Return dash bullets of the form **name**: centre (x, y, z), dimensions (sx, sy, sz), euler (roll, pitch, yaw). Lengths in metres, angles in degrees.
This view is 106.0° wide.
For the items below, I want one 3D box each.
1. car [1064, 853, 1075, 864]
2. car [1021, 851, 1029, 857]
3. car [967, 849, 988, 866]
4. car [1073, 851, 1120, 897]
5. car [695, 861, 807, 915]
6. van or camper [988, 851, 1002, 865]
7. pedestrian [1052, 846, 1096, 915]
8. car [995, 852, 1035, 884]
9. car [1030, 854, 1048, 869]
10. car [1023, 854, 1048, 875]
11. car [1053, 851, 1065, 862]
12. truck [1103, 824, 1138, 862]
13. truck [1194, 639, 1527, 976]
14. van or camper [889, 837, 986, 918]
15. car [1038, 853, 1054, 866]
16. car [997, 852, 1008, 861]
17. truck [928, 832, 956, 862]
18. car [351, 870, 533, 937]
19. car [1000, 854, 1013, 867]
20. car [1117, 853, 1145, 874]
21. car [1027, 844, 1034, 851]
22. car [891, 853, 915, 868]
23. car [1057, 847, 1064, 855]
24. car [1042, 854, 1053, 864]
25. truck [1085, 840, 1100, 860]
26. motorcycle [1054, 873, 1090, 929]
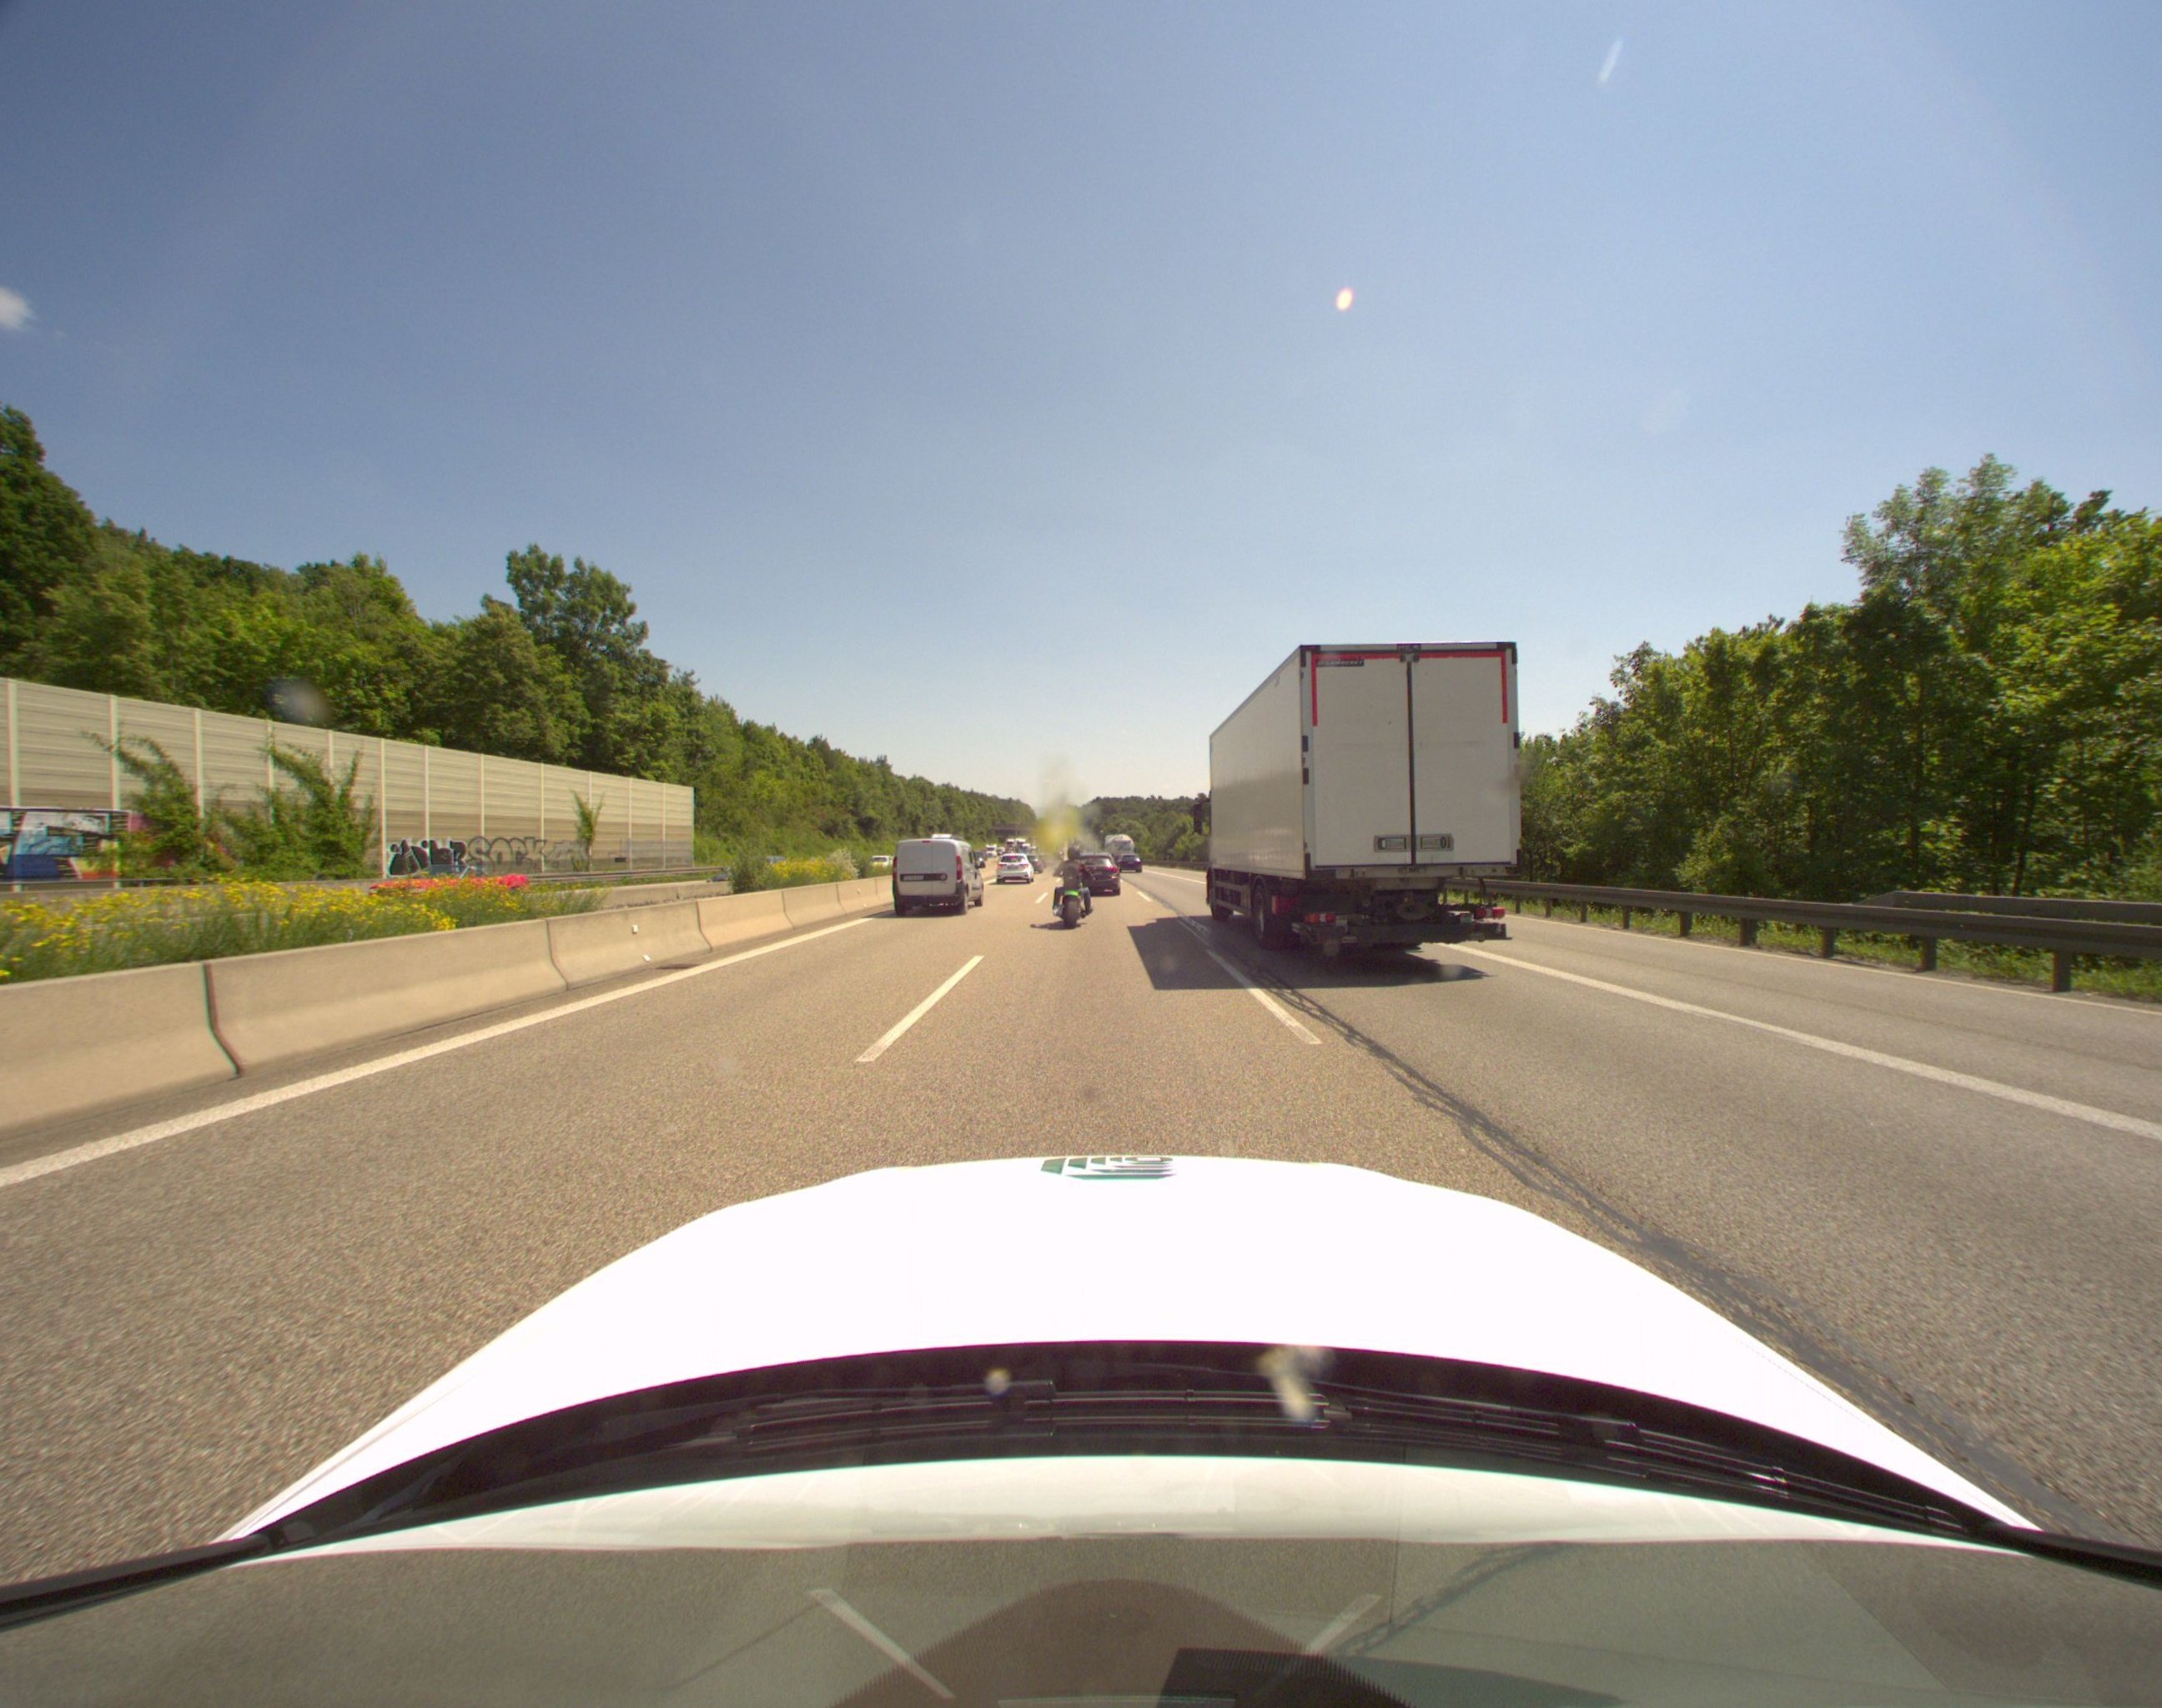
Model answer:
- **car**: centre (-1.666, 0.644, 118.840), dimensions (1.387, 1.463, 2.779), euler (-1, 0, 1)
- **car**: centre (-12.954, -0.025, 189.243), dimensions (1.706, 1.538, 4.126), euler (-1, 0, -1)
- **car**: centre (-11.398, 0.367, 89.627), dimensions (1.678, 1.698, 4.658), euler (-1, 0, 0)
- **car**: centre (0.550, 0.655, 29.125), dimensions (1.527, 1.510, 4.000), euler (-1, 0, 1)
- **car**: centre (-10.942, 1.069, 27.399), dimensions (1.740, 1.577, 4.715), euler (-1, 0, 1)
- **van or camper**: centre (-17.973, 0.844, 170.002), dimensions (2.263, 2.735, 6.802), euler (-1, 0, -1)
- **pedestrian**: centre (-0.132, 0.534, 16.678), dimensions (0.846, 1.362, 0.961), euler (-1, 0, 0)
- **car**: centre (-3.276, 0.686, 41.160), dimensions (1.694, 1.478, 3.998), euler (1, 0, -1)
- **car**: centre (-4.226, 0.733, 82.591), dimensions (1.694, 1.478, 3.998), euler (1, 0, -1)
- **car**: centre (-3.413, 0.776, 61.210), dimensions (1.694, 1.478, 3.998), euler (1, 0, -1)
- **car**: centre (-3.824, 0.400, 141.762), dimensions (1.874, 1.859, 3.999), euler (2, 0, -1)
- **truck**: centre (3.973, -1.081, 84.446), dimensions (2.979, 3.671, 9.283), euler (-1, 0, -1)
- **truck**: centre (3.940, -0.550, 14.420), dimensions (2.678, 3.876, 9.783), euler (-1, 0, 1)
- **van or camper**: centre (-3.660, 0.566, 21.448), dimensions (1.790, 1.892, 4.159), euler (-1, 0, 0)
- **car**: centre (-4.001, 0.625, 93.617), dimensions (1.694, 1.478, 3.998), euler (1, 0, -1)
- **car**: centre (-19.255, 0.625, 200.627), dimensions (2.221, 2.013, 5.809), euler (-1, 0, -1)
- **truck**: centre (-19.097, -0.898, 112.091), dimensions (2.805, 3.908, 7.310), euler (-1, 0, -2)
- **car**: centre (-17.796, 1.304, 22.978), dimensions (1.733, 1.640, 4.189), euler (-1, 0, 1)
- **car**: centre (-11.614, 0.995, 127.375), dimensions (1.759, 2.013, 3.997), euler (-1, 0, -2)
- **car**: centre (3.912, 0.724, 64.352), dimensions (1.823, 1.470, 3.999), euler (2, 0, -1)
- **car**: centre (-14.300, -1.892, 232.133), dimensions (1.887, 1.948, 3.996), euler (-1, 0, -3)
- **car**: centre (-22.481, 0.818, 102.778), dimensions (1.915, 1.867, 5.300), euler (-1, 0, -1)
- **car**: centre (-5.873, -0.870, 236.528), dimensions (1.924, 2.014, 3.999), euler (-1, 0, 0)
- **car**: centre (-6.417, 0.981, 157.979), dimensions (1.987, 2.014, 3.999), euler (-1, 0, 0)
- **truck**: centre (2.544, -0.918, 190.198), dimensions (3.024, 4.542, 9.979), euler (2, 0, -1)
- **motorcycle**: centre (-0.168, 0.930, 16.711), dimensions (0.689, 1.015, 2.121), euler (-1, 0, 0)
